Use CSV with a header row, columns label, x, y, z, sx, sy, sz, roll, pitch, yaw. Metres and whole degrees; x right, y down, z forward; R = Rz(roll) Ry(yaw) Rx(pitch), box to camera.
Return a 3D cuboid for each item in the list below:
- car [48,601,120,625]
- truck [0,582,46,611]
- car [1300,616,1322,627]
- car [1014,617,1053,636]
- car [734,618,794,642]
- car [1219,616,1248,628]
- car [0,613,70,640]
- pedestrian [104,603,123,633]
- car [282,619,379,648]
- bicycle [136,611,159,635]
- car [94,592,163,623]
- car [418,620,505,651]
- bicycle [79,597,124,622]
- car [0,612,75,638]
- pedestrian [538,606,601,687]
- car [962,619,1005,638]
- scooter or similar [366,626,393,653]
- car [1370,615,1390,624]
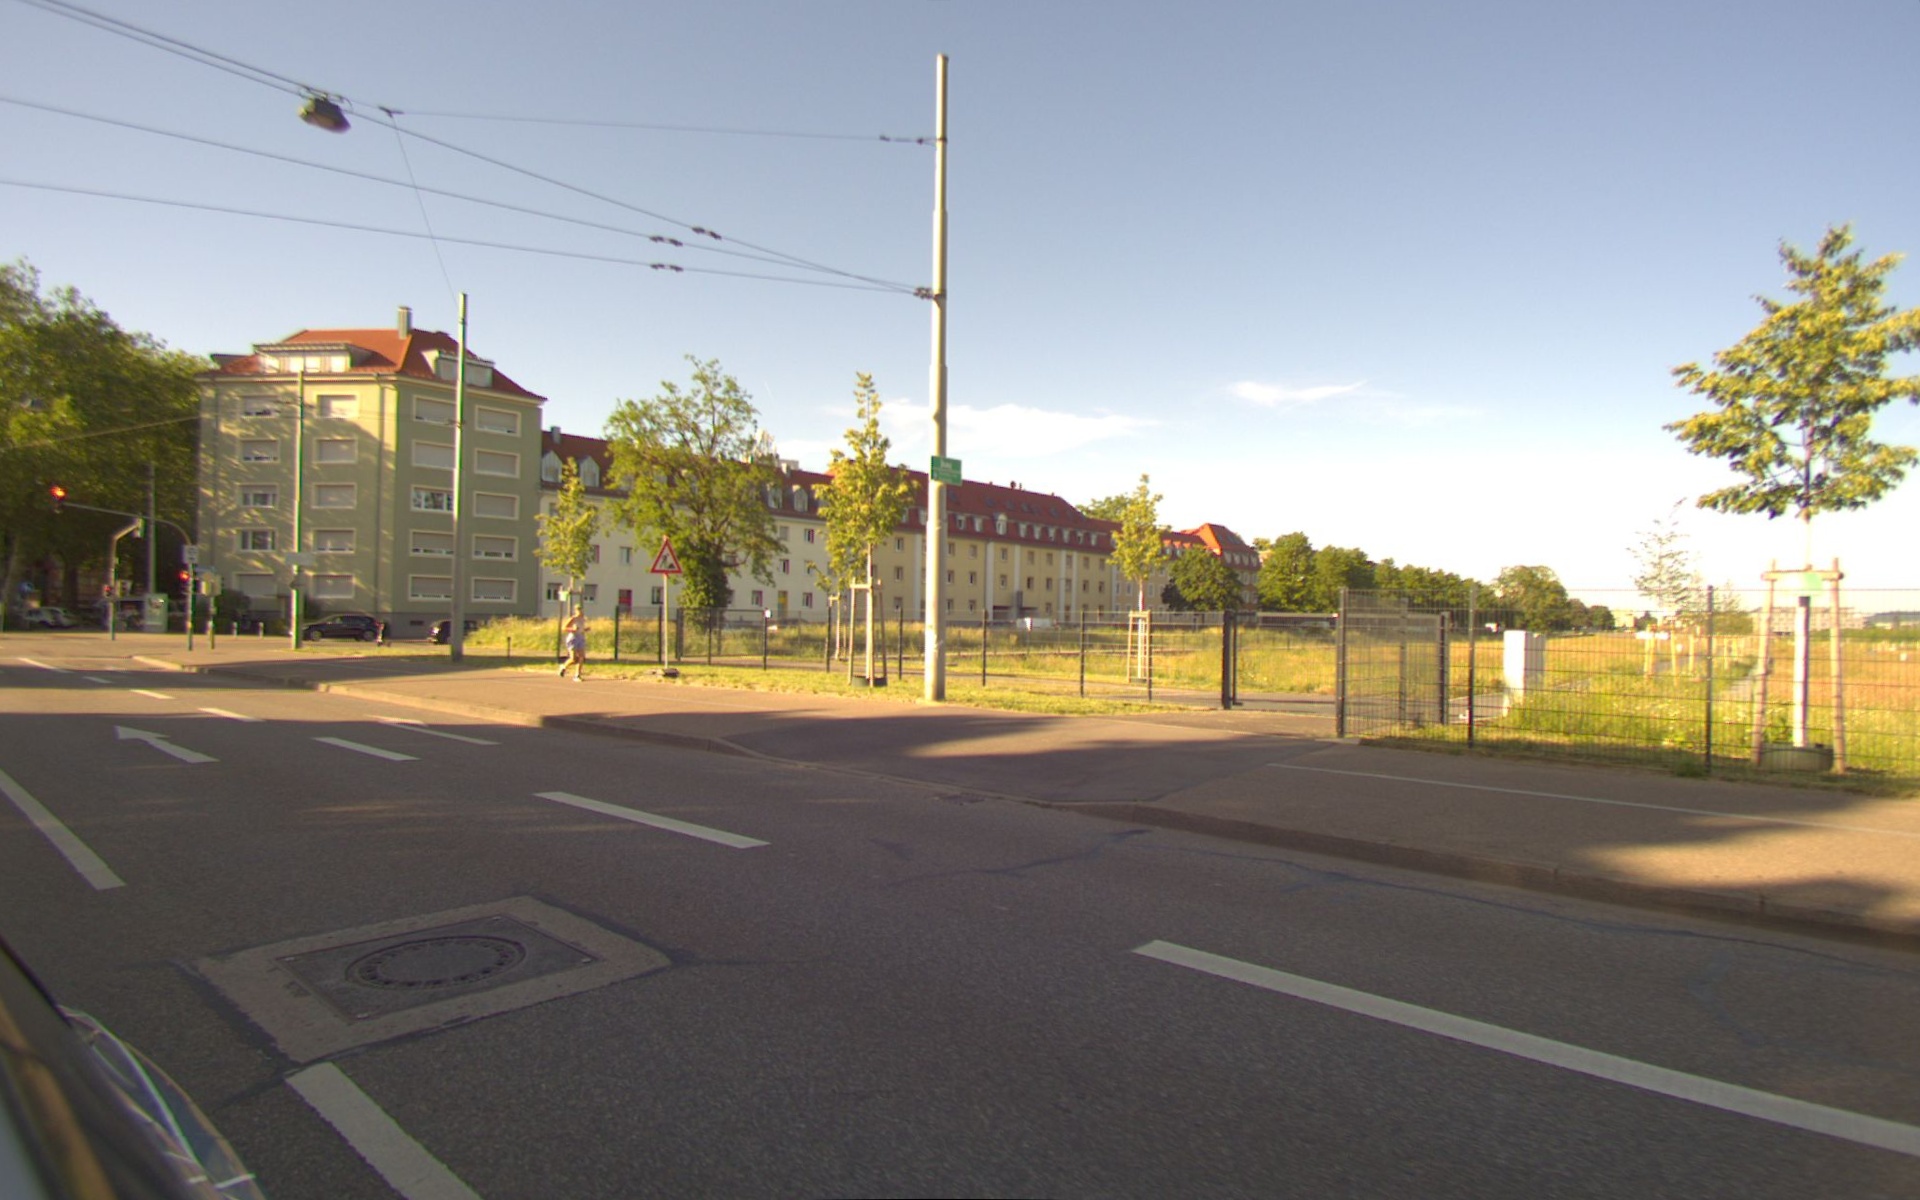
label,x,y,z,sx,sy,sz,roll,pitch,yaw
car,-68.867,0.999,79.600,3.932,1.851,1.822,0,1,-27
truck,-102.296,-0.426,110.347,2.304,2.994,8.057,0,1,-30
car,51.280,3.173,147.836,1.698,1.542,3.852,-5,-4,38
car,6.723,2.442,92.579,1.698,1.542,3.852,-5,-4,38
car,-13.467,2.095,69.705,1.698,1.542,3.852,-5,-4,38
car,36.374,2.935,134.534,1.942,1.505,4.149,-2,-3,42
car,-62.011,1.768,67.165,4.078,1.652,1.780,0,1,-27
pedestrian,-55.695,1.185,66.583,0.685,1.978,0.930,0,1,-19
car,-34.740,1.857,55.903,1.942,1.505,4.149,-2,-3,42
bicycle,-51.980,1.449,64.735,2.053,1.390,0.764,4,1,42
car,-73.373,0.659,89.392,4.345,2.646,1.976,0,1,-27
car,-26.616,1.892,54.103,1.698,1.542,3.852,-5,-4,38
bicycle,-55.302,0.618,65.199,2.017,1.472,0.728,3,1,-20
car,-63.296,1.703,69.059,4.078,1.652,1.780,0,1,-27
pedestrian,-8.265,0.959,21.428,1.181,1.641,0.823,0,0,44
car,2.065,2.494,87.312,1.698,1.542,3.852,-5,-4,38
scooter or similar,-26.655,1.810,46.509,0.586,1.153,1.269,1,-6,-8
car,73.795,3.421,177.676,1.942,1.505,4.149,-2,-3,42
